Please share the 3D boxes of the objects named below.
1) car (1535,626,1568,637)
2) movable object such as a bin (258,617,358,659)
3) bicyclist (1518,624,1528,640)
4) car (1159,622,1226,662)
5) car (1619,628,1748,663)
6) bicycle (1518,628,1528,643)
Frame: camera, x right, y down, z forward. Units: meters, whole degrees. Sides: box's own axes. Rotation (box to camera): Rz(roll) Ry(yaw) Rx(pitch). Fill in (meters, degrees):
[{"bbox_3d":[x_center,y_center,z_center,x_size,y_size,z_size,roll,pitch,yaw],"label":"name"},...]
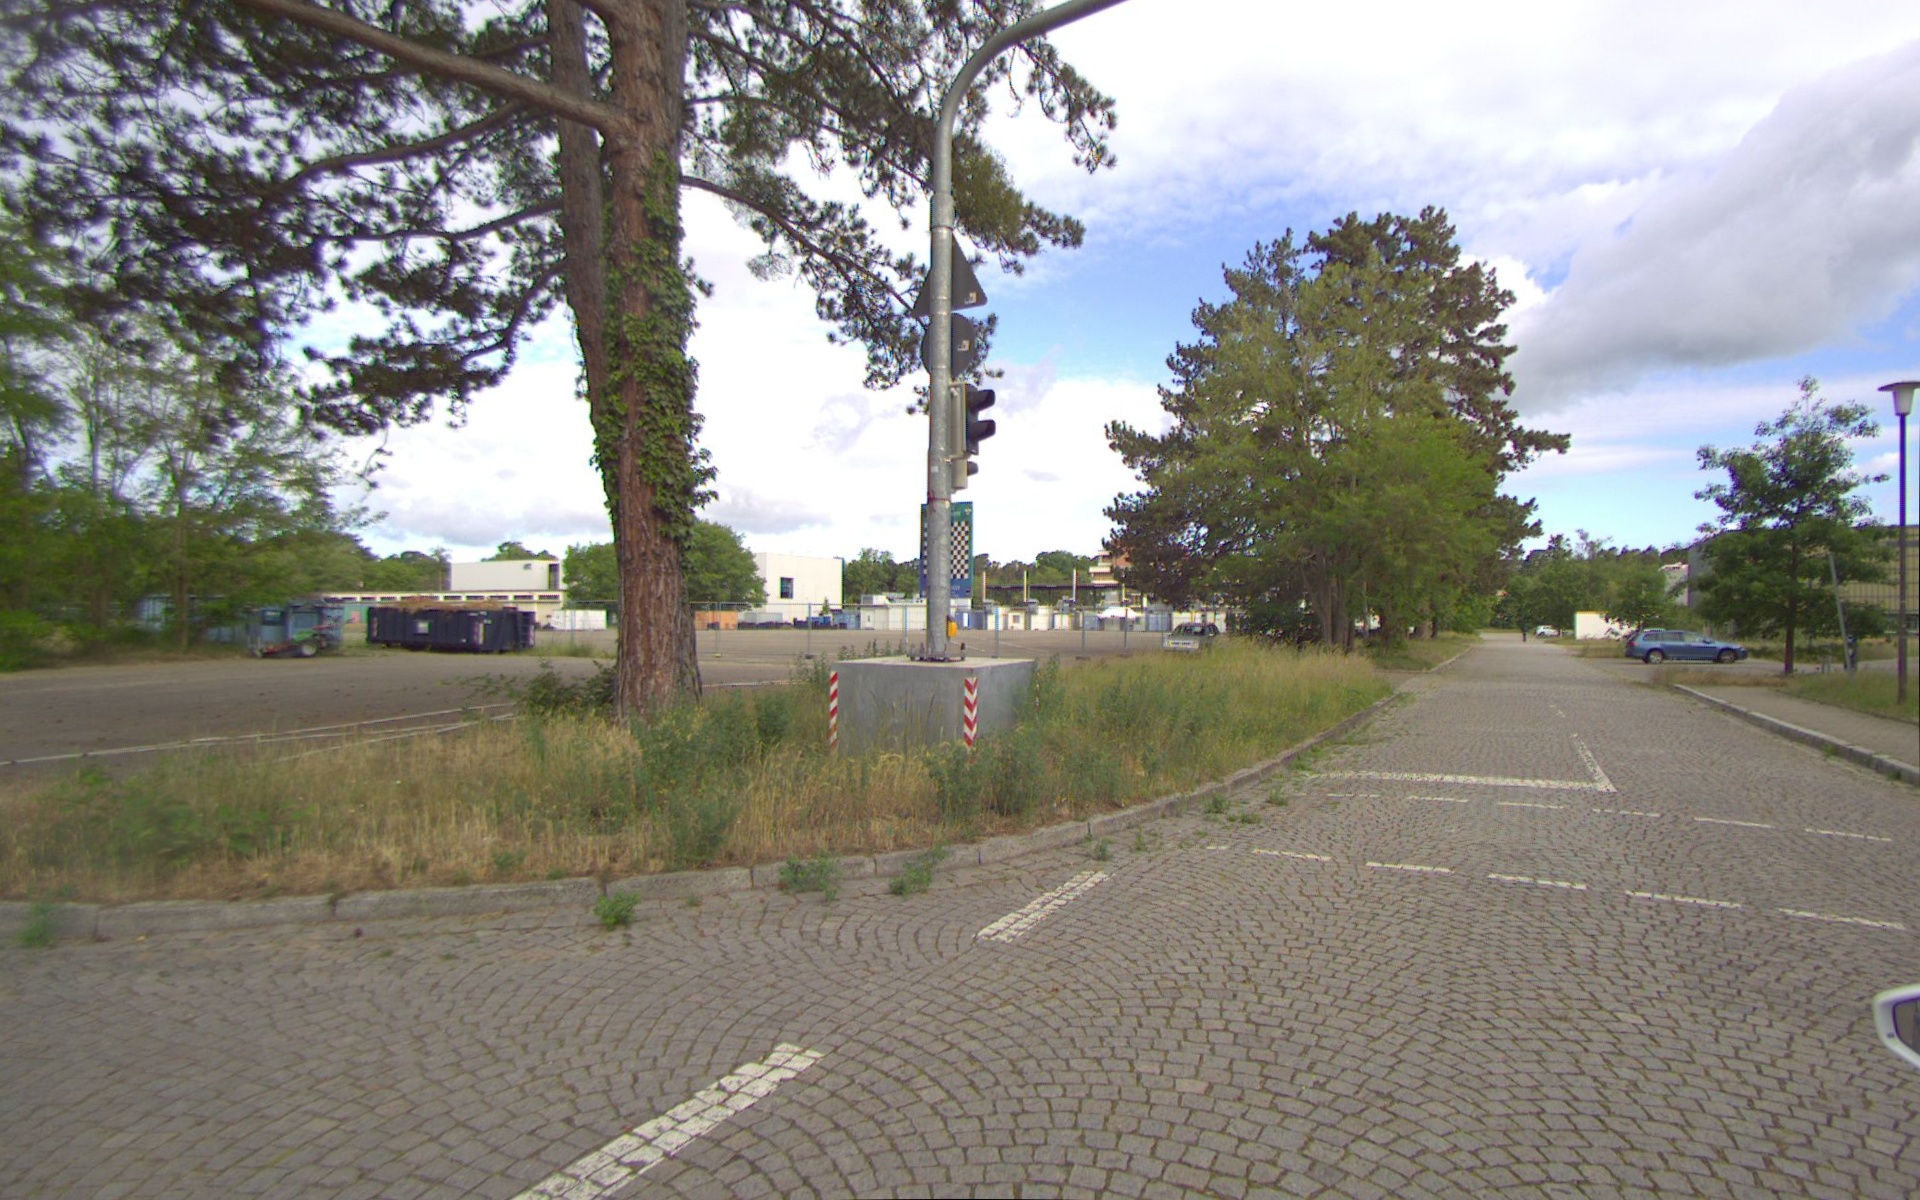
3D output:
[{"bbox_3d":[88.774,4.738,150.771,4.259,1.570,1.996,0,-1,30],"label":"car"},{"bbox_3d":[-18.527,1.076,28.608,0.843,1.140,2.266,0,-2,27],"label":"movable object such as a bin"},{"bbox_3d":[55.455,3.127,98.935,0.884,1.563,0.866,0,0,28],"label":"bicyclist"},{"bbox_3d":[9.576,1.665,41.186,1.704,1.451,4.155,0,0,28],"label":"car"},{"bbox_3d":[32.454,2.040,45.237,4.412,1.482,1.932,-2,-2,27],"label":"car"},{"bbox_3d":[55.474,3.522,98.955,0.811,1.395,2.039,0,0,27],"label":"bicycle"}]
